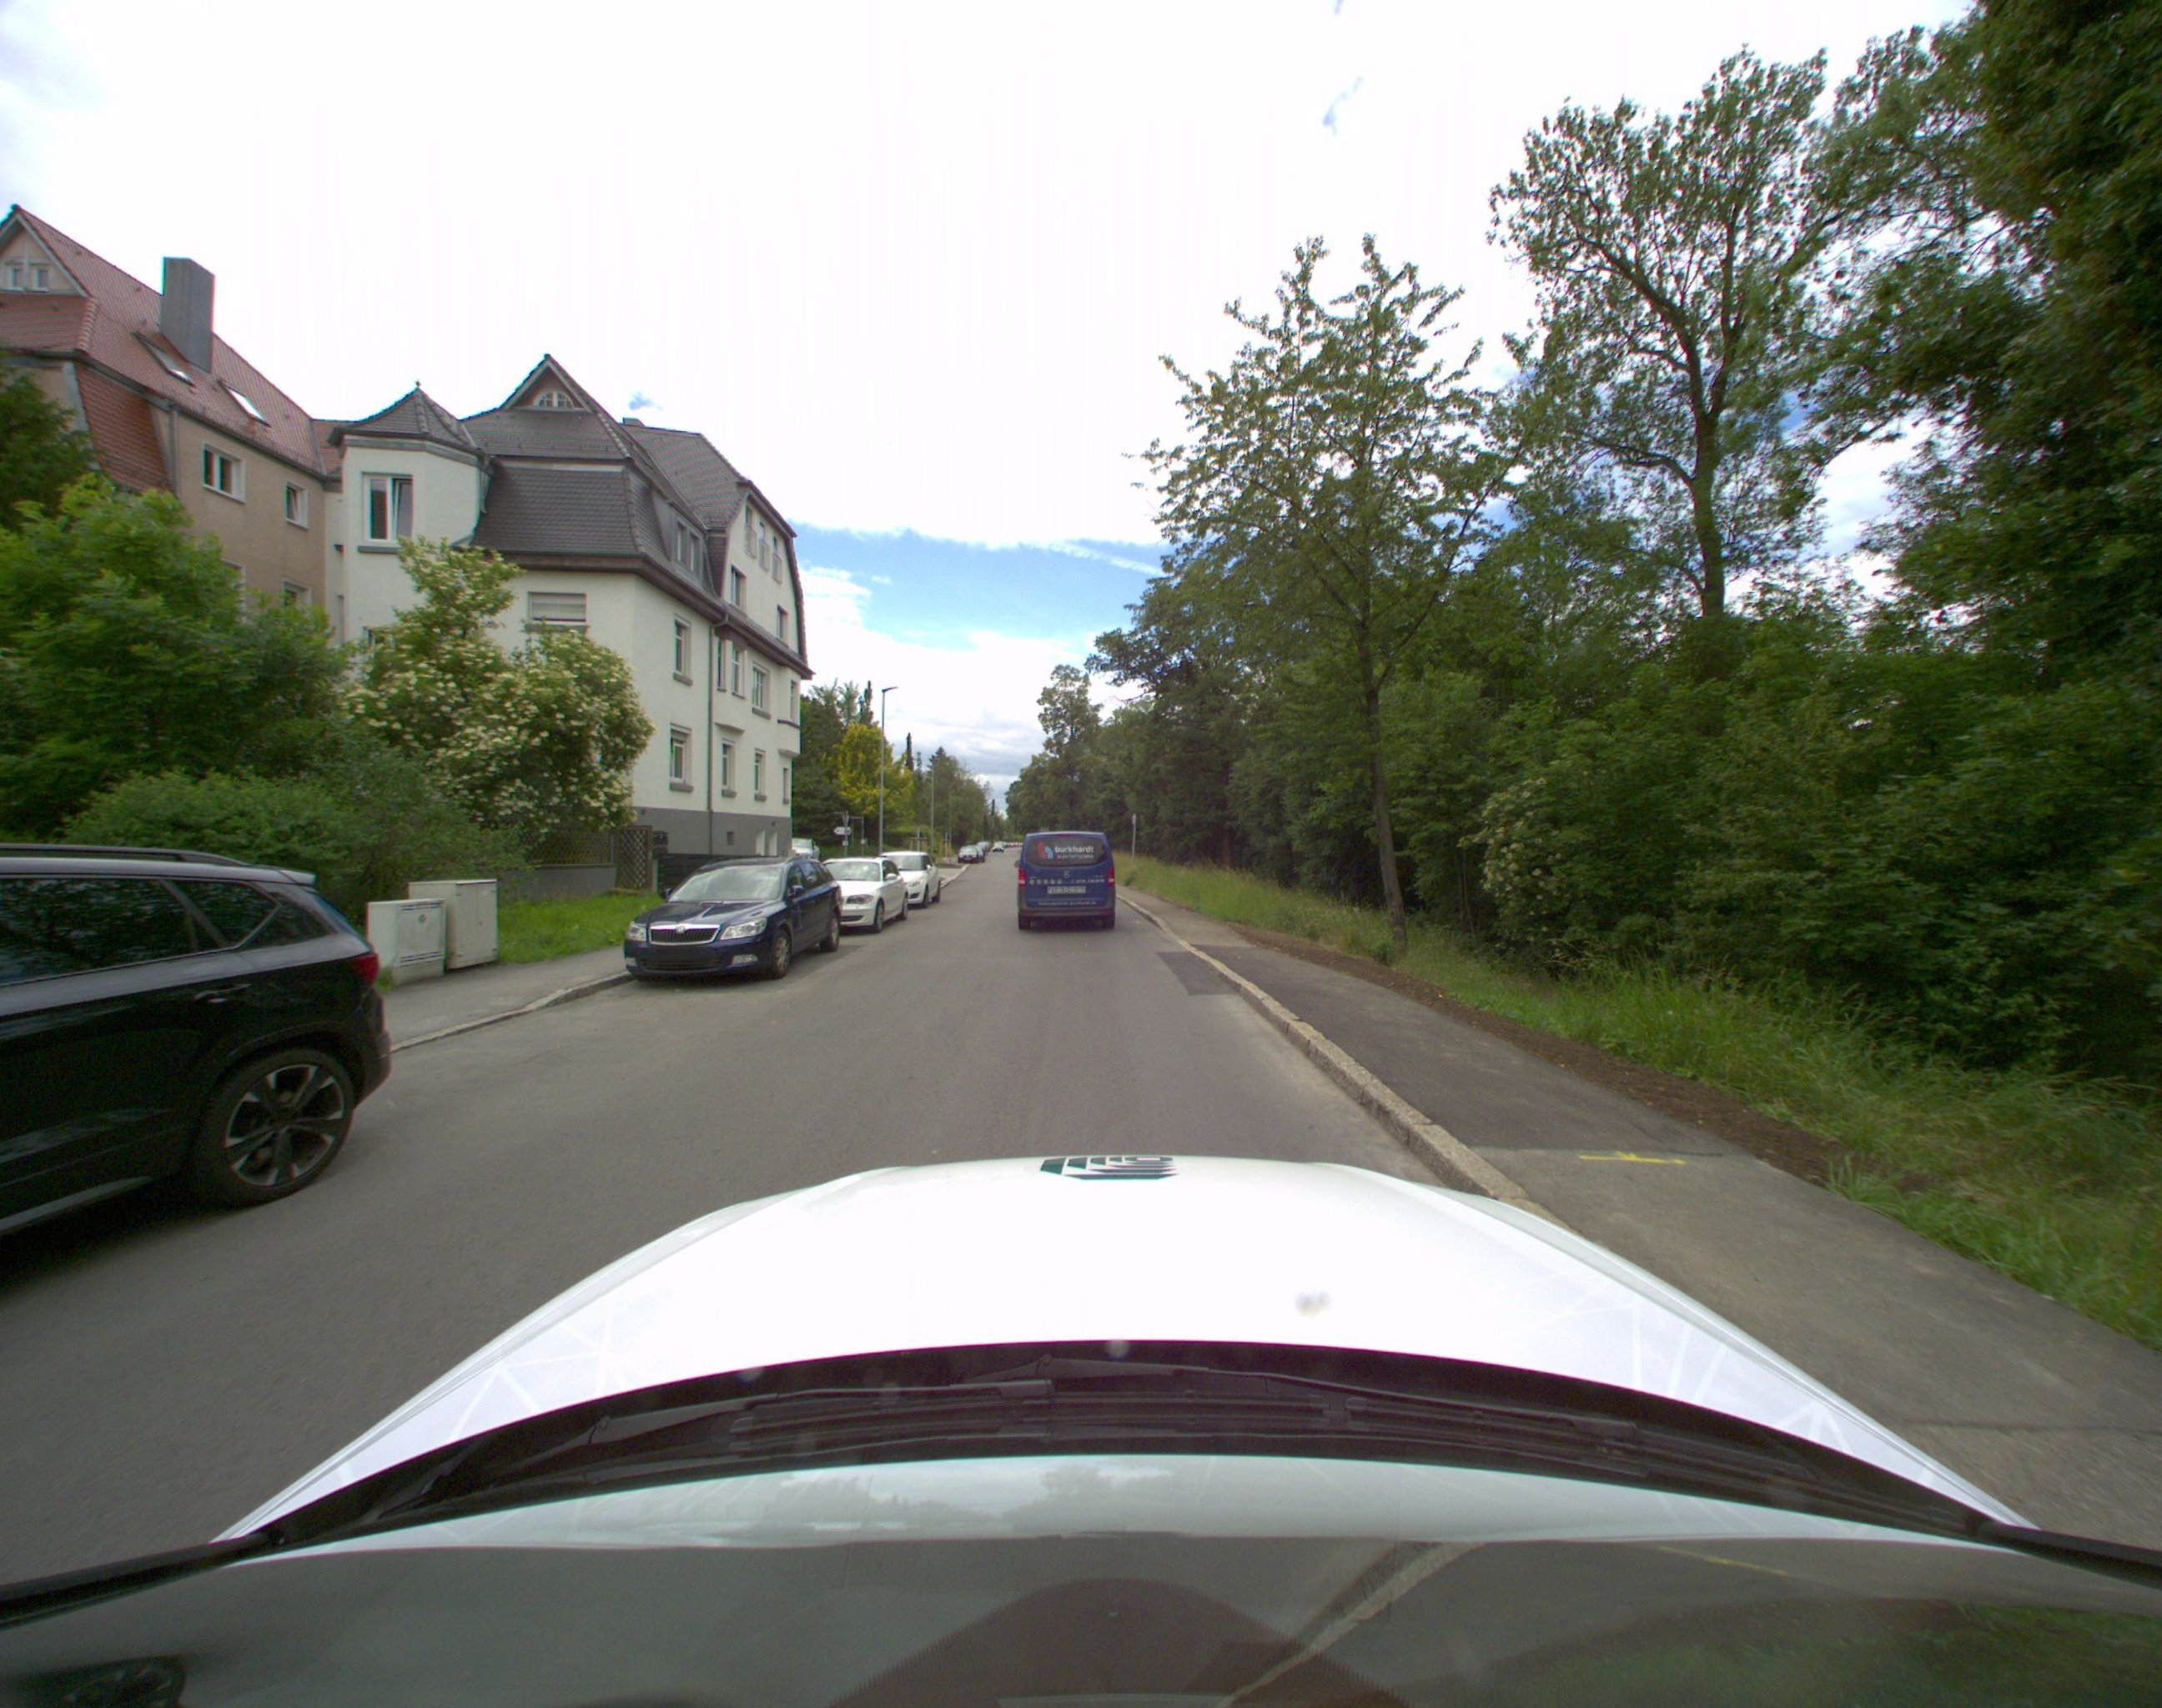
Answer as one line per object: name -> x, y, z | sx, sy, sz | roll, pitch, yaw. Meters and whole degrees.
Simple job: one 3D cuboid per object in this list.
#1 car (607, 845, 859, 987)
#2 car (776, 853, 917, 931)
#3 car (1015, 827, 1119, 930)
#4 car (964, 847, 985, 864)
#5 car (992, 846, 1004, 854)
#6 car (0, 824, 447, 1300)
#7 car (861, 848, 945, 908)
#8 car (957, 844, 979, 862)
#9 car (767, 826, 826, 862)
car -> -4.562, 0.667, 11.572 | 1.723, 1.573, 4.809 | 0, 1, -3
car -> -4.645, 0.698, 16.874 | 1.720, 1.390, 4.722 | 0, -1, -2
car -> -0.393, 0.392, 16.848 | 1.885, 1.843, 3.995 | 1, 2, -4
car -> -9.646, 0.119, 74.228 | 1.704, 1.482, 4.487 | 1, 0, -5
car -> -14.210, -0.691, 139.158 | 1.779, 1.426, 4.479 | 2, 0, -7
car -> -4.421, 0.688, 2.519 | 1.656, 1.582, 4.078 | 0, -1, 1
car -> -4.852, 0.602, 22.650 | 1.639, 1.469, 4.066 | 0, 1, -3
car -> -9.544, -0.093, 69.246 | 1.680, 1.482, 4.683 | 1, 0, -6
car -> -13.844, -0.431, 39.903 | 1.906, 1.533, 4.580 | 5, -1, -10
